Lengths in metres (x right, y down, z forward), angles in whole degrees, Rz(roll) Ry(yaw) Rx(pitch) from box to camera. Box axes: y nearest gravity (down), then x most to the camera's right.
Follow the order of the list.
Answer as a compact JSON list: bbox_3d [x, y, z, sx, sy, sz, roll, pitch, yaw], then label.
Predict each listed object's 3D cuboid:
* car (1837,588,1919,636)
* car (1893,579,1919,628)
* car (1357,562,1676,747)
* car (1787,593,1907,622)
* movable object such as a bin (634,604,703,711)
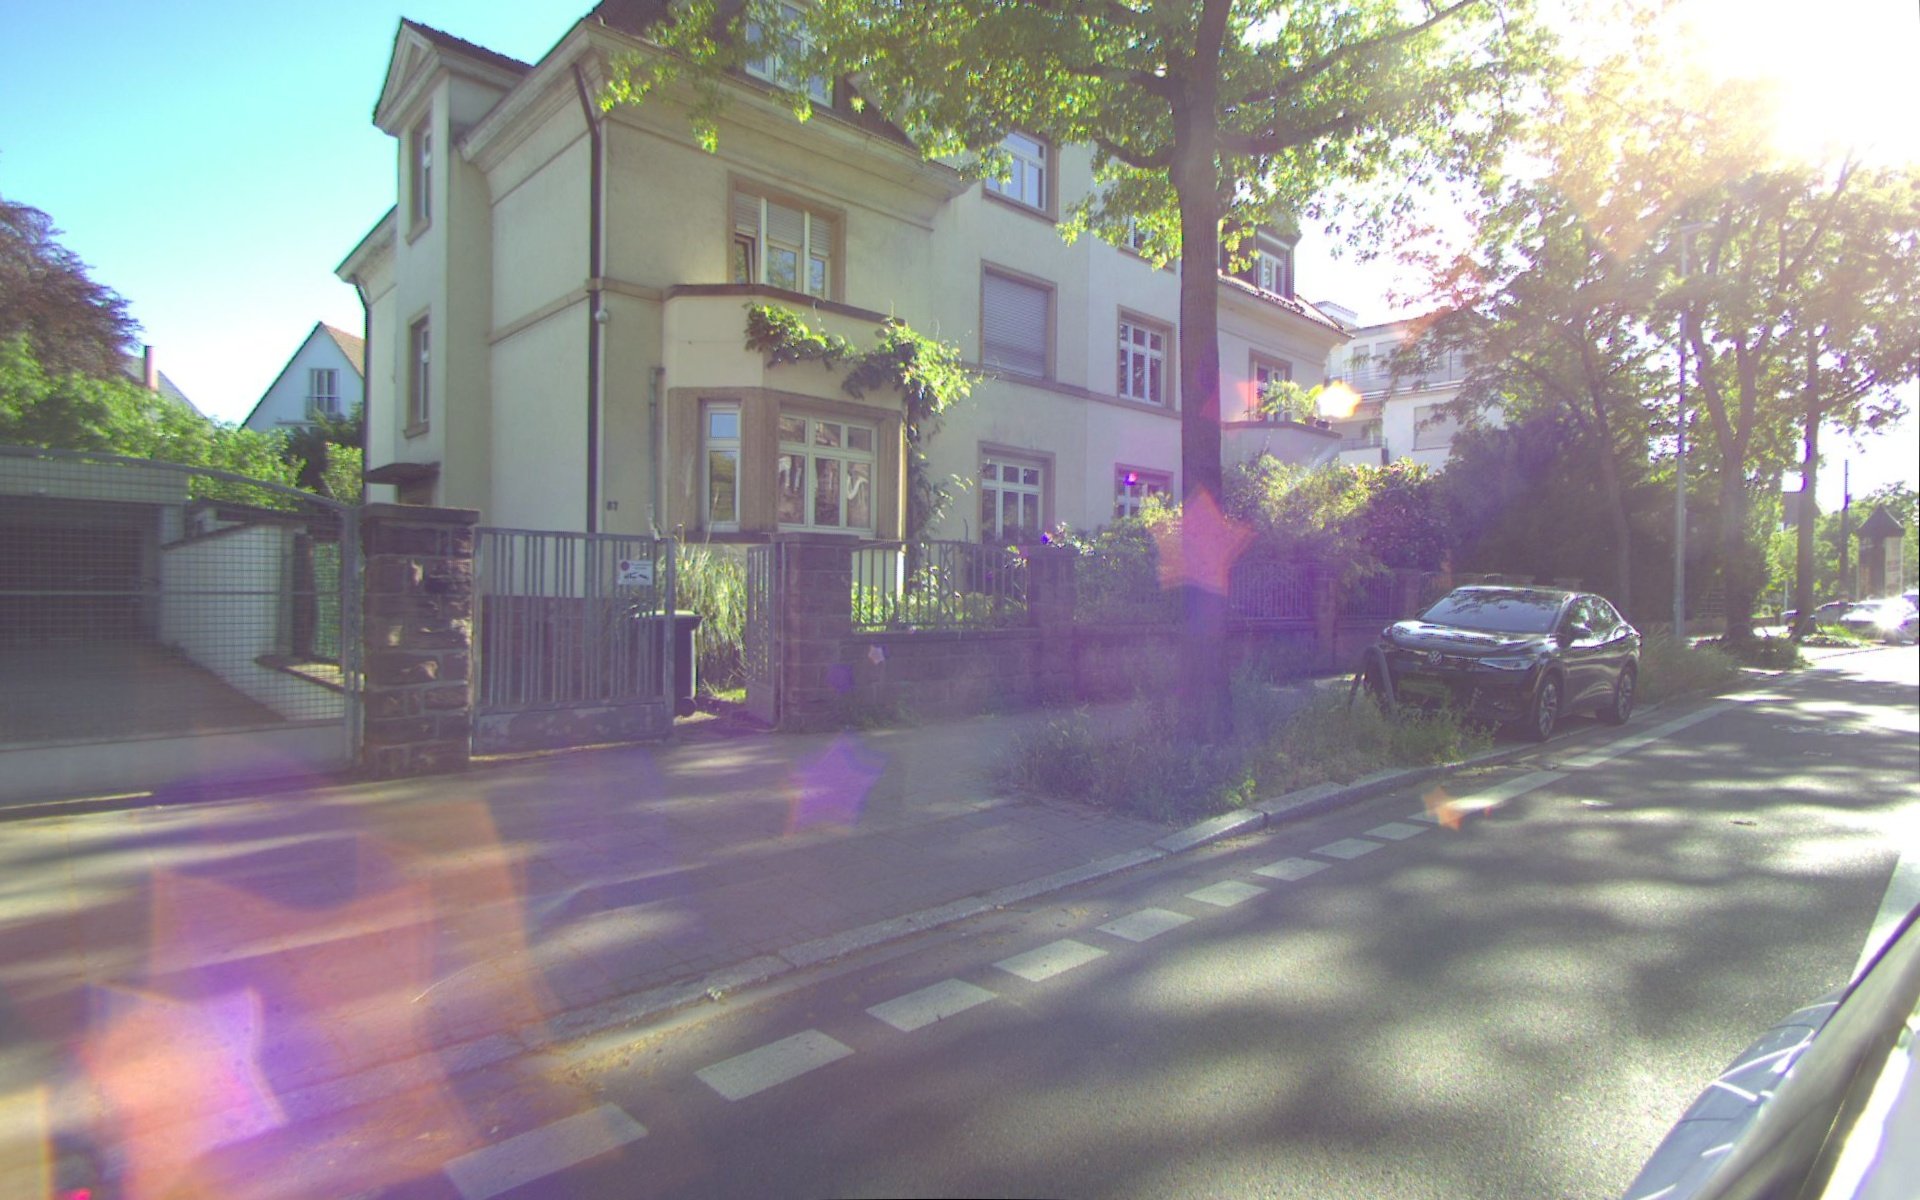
[{"bbox_3d":[31.641,0.359,34.382,4.254,1.440,1.999,-1,2,-38],"label":"car"},{"bbox_3d":[36.566,0.144,37.617,4.664,1.768,2.028,0,1,-38],"label":"car"},{"bbox_3d":[6.793,0.501,12.113,4.647,1.714,1.808,0,4,-42],"label":"car"},{"bbox_3d":[46.606,0.352,53.238,1.934,1.386,4.520,0,1,-40],"label":"car"},{"bbox_3d":[-3.053,0.576,10.572,0.634,1.060,0.659,0,0,-21],"label":"movable object such as a bin"}]
